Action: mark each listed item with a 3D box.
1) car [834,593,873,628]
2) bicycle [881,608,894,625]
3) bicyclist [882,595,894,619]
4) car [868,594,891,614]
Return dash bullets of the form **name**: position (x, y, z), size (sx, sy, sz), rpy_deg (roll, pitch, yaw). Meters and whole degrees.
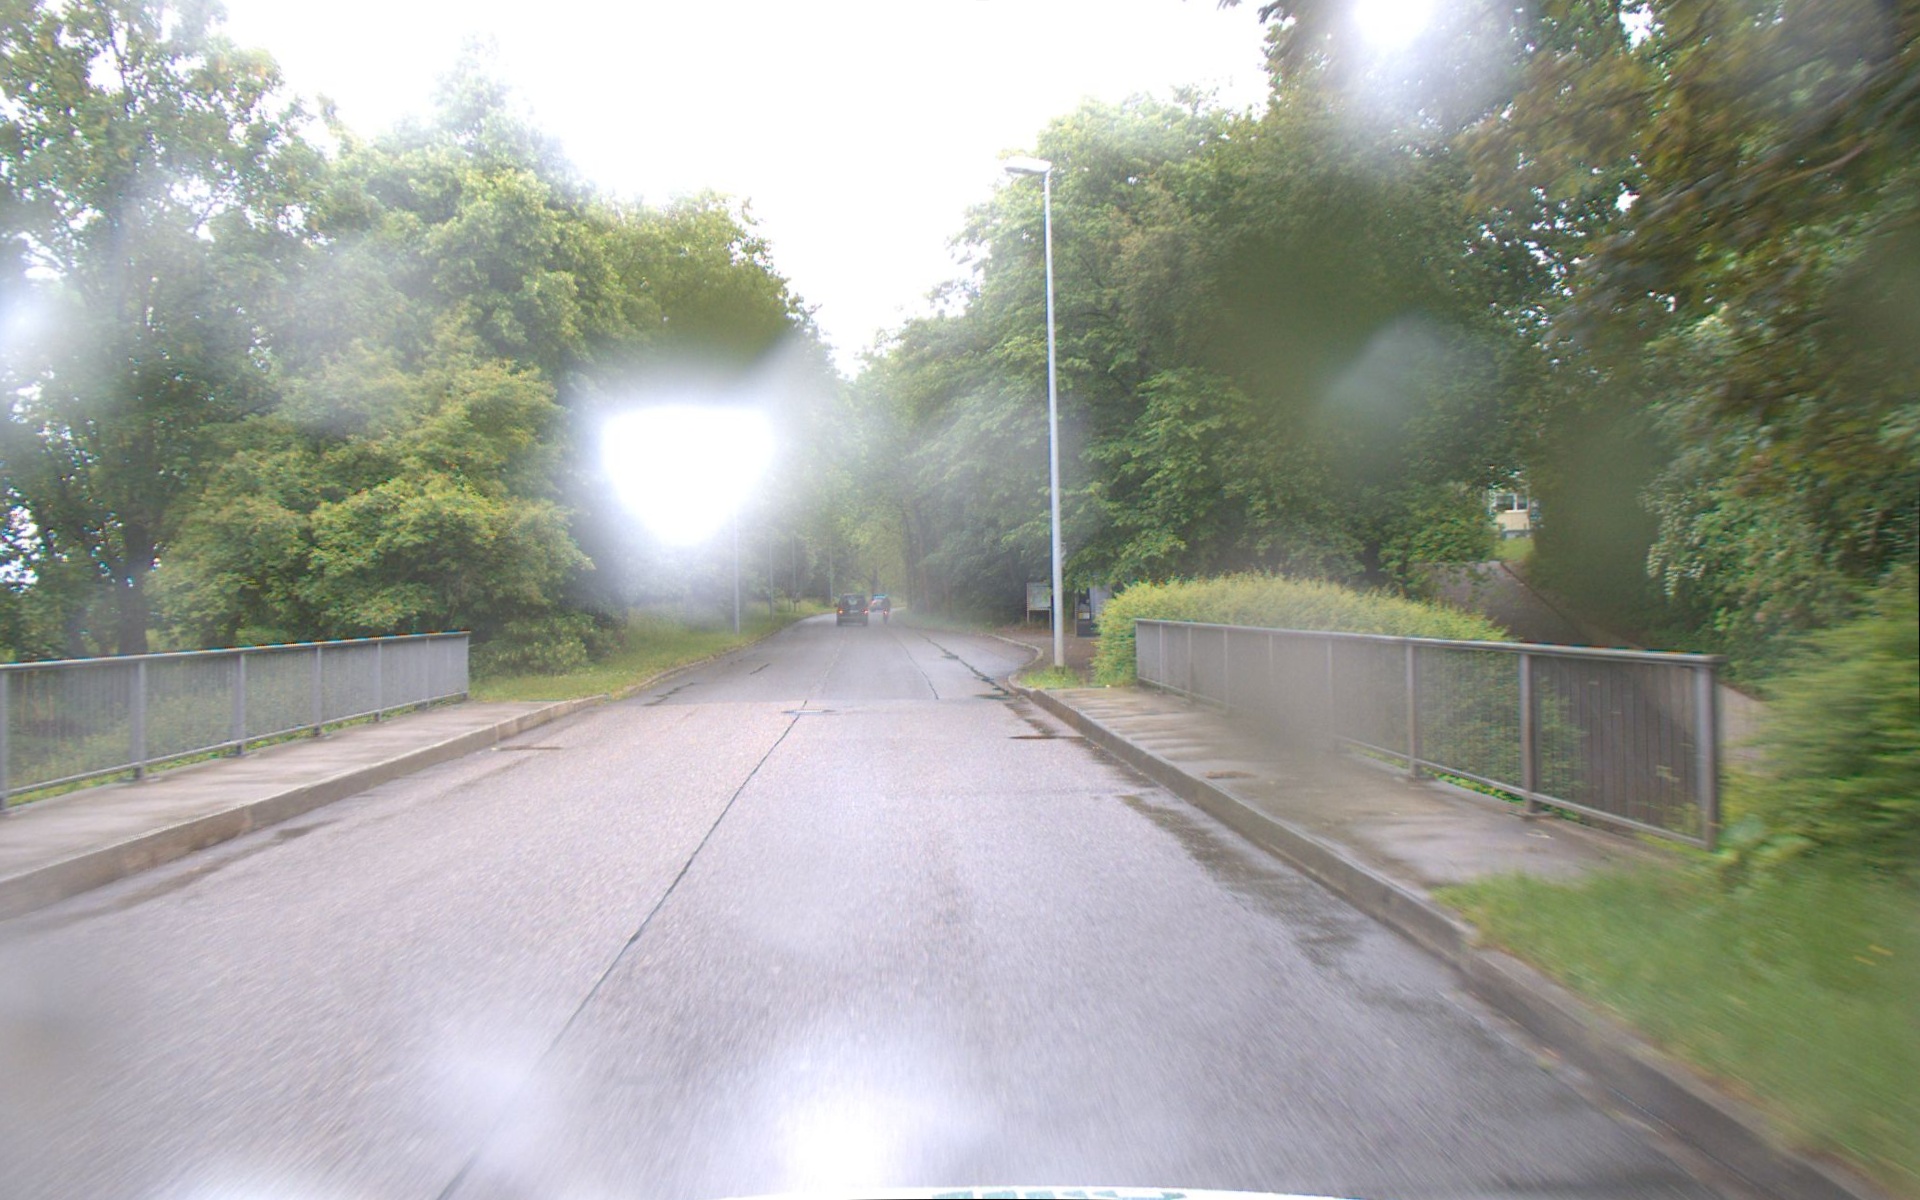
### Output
- **car**: position (-6.153, 0.596, 95.441), size (1.948, 1.959, 3.993), rpy_deg (-1, 0, -8)
- **bicycle**: position (-4.432, 0.997, 101.460), size (0.715, 0.991, 2.173), rpy_deg (0, 0, -1)
- **bicyclist**: position (-4.431, 0.428, 101.432), size (0.715, 1.435, 0.973), rpy_deg (0, 0, -1)
- **car**: position (-7.720, 0.397, 159.232), size (1.955, 1.847, 3.994), rpy_deg (0, 0, -7)
